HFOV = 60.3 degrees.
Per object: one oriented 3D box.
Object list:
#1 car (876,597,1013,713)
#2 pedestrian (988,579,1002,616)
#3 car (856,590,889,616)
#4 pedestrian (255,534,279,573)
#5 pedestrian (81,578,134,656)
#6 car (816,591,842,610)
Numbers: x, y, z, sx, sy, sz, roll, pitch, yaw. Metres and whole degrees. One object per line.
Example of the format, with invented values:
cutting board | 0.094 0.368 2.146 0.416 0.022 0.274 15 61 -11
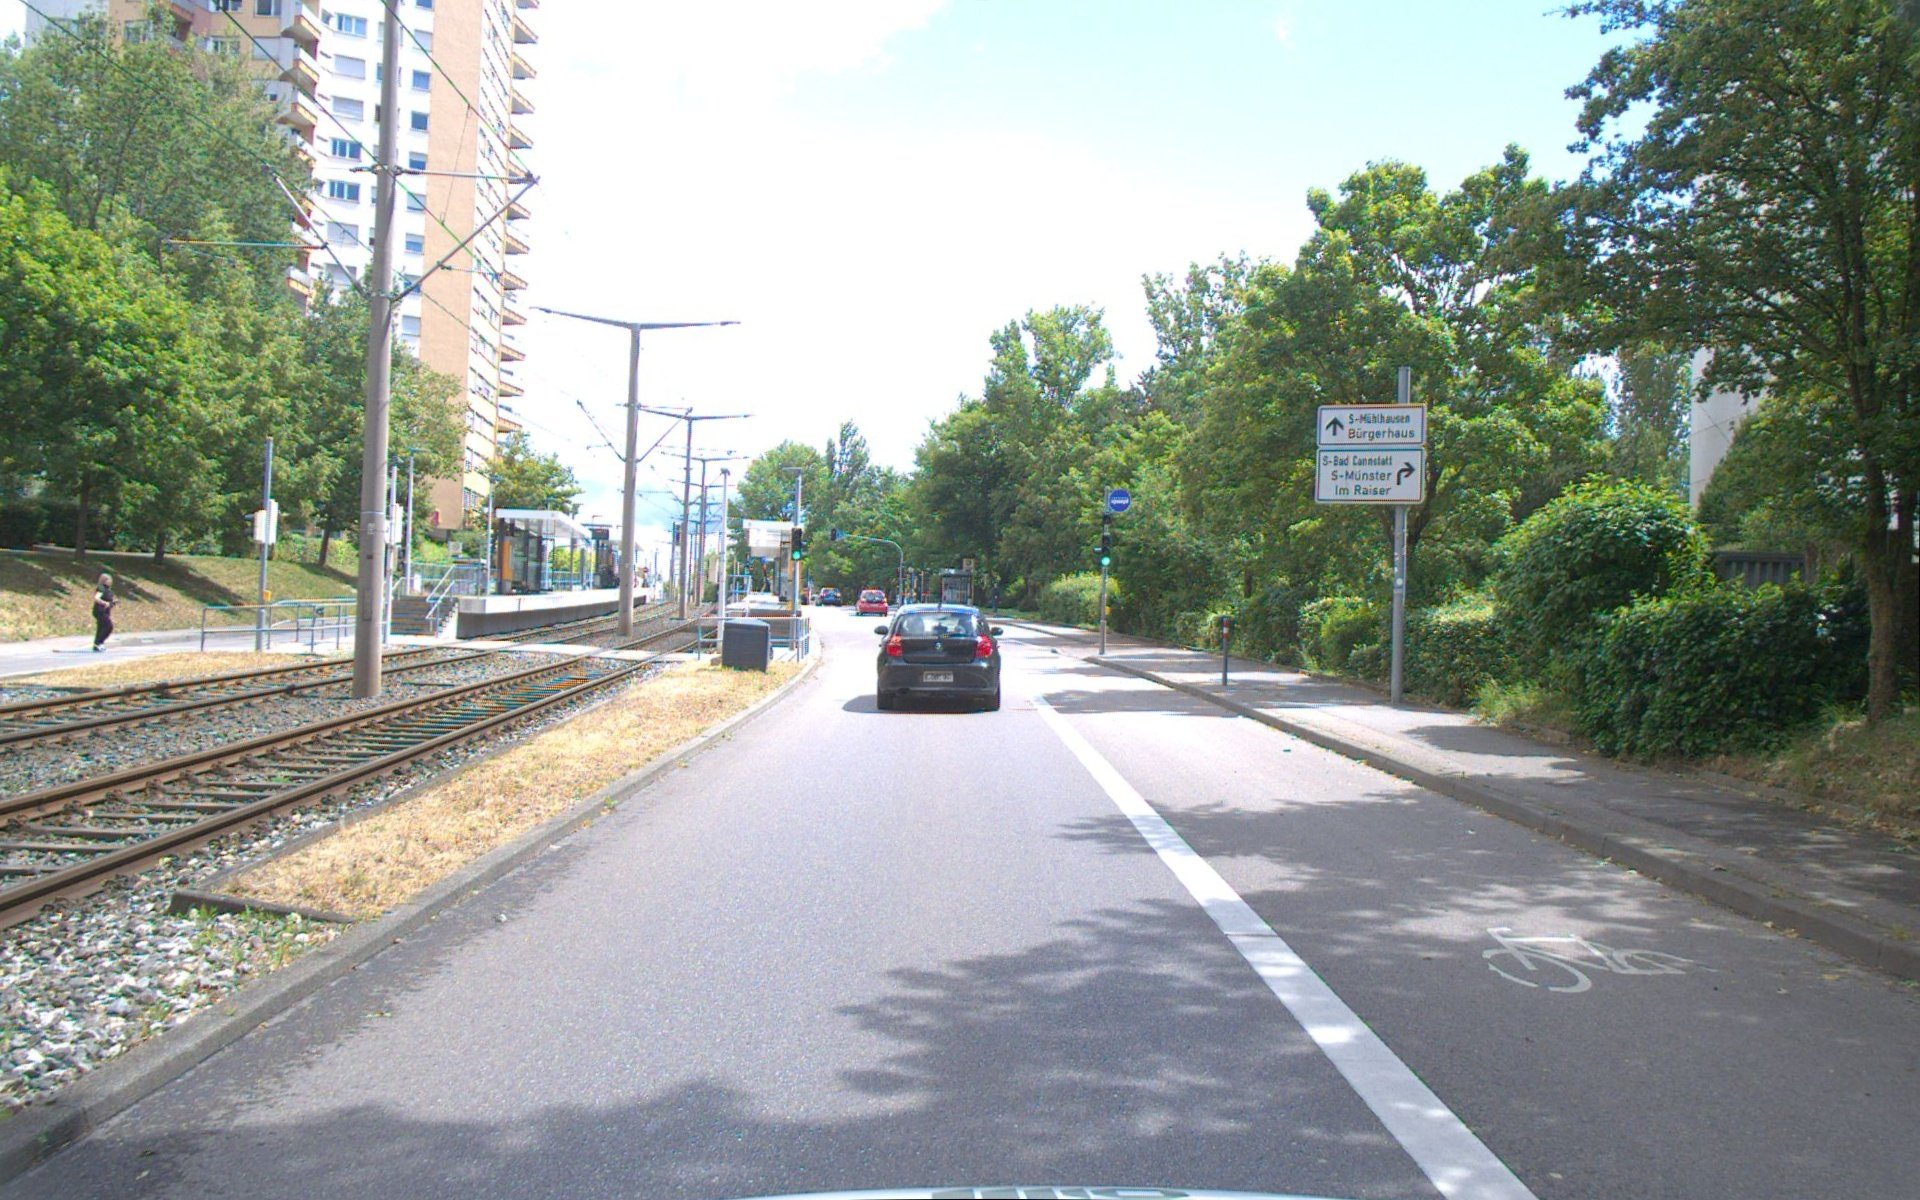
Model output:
car | -0.299 0.713 23.546 1.746 1.485 3.918 0 0 -4
pedestrian | 1.977 -0.121 92.651 0.725 2.049 0.681 1 0 -1
car | -5.023 0.160 94.927 1.746 1.485 3.917 1 0 -5
pedestrian | -28.053 -1.887 66.953 0.620 1.561 0.635 1 0 16
pedestrian | -17.331 0.345 33.609 0.705 1.561 0.765 1 0 44
car | -10.470 0.032 131.604 1.873 1.485 3.996 1 0 -7
